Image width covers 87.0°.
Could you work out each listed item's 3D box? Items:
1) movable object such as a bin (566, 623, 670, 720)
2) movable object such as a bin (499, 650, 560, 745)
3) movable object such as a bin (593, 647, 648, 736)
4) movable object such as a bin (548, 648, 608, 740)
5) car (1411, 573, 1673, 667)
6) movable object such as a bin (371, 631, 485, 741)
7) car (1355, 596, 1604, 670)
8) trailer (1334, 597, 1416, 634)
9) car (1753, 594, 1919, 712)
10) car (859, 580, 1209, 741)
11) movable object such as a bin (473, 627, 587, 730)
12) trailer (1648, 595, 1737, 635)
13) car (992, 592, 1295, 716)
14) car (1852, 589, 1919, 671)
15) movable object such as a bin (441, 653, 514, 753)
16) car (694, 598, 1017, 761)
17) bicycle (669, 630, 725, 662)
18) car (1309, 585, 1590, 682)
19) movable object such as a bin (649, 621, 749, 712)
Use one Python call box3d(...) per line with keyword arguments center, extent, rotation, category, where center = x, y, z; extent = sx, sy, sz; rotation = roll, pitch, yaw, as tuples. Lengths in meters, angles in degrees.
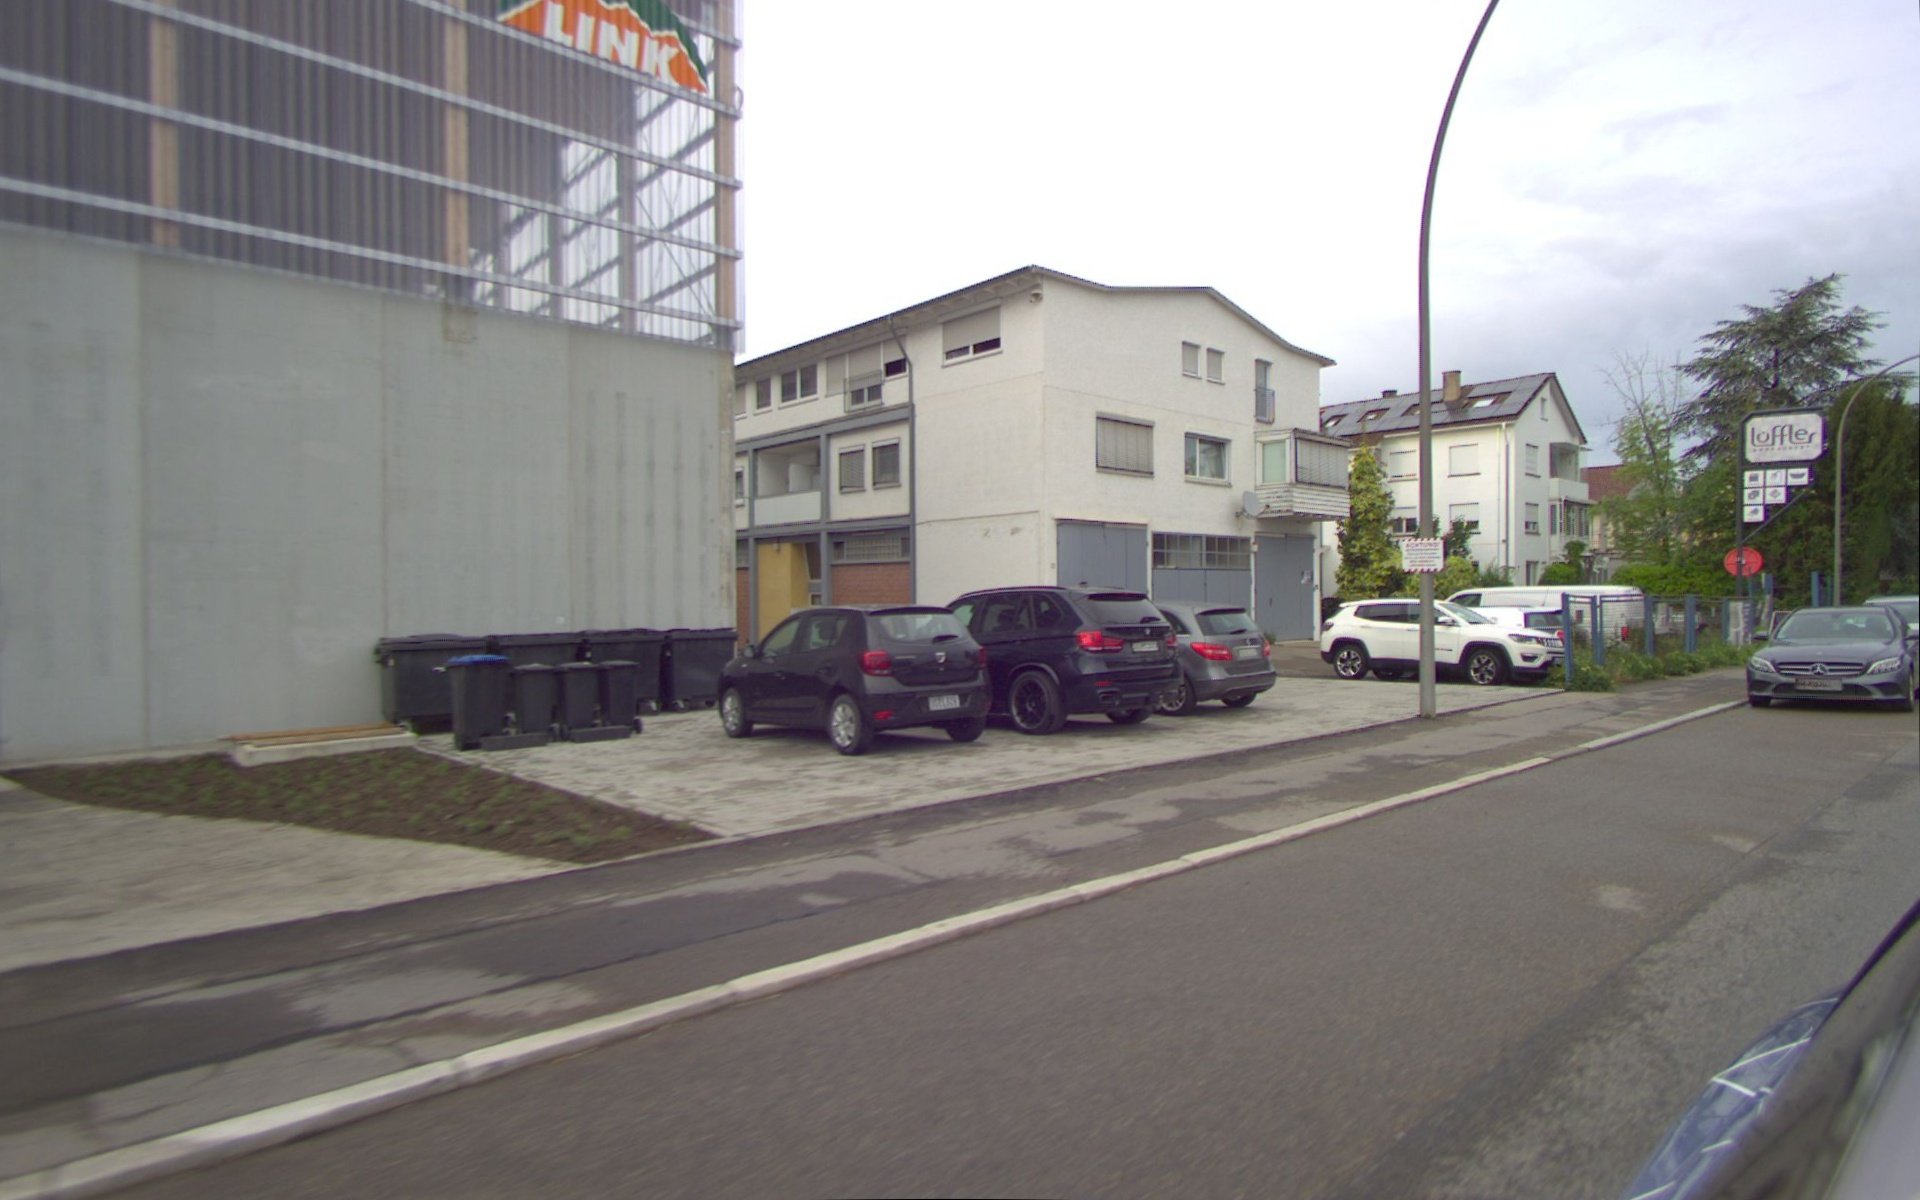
box3d(center=(-5.182, 1.053, 15.345), extent=(1.262, 1.357, 0.839), rotation=(-1, -1, -40), category="movable object such as a bin")
box3d(center=(-5.156, 1.150, 12.131), extent=(0.534, 1.068, 0.513), rotation=(-1, -1, -40), category="movable object such as a bin")
box3d(center=(-4.310, 1.150, 12.842), extent=(0.496, 1.068, 0.518), rotation=(-1, -1, -40), category="movable object such as a bin")
box3d(center=(-4.719, 1.141, 12.498), extent=(0.543, 1.068, 0.496), rotation=(-1, -1, -40), category="movable object such as a bin")
box3d(center=(13.067, 0.454, 22.981), extent=(1.965, 1.910, 4.739), rotation=(-1, -1, -41), category="car")
box3d(center=(-7.157, 1.117, 13.620), extent=(1.192, 1.357, 0.839), rotation=(-1, -1, -40), category="movable object such as a bin")
box3d(center=(10.904, 0.686, 21.502), extent=(1.818, 1.396, 4.325), rotation=(-1, -1, -41), category="car")
box3d(center=(18.067, 0.658, 44.019), extent=(4.024, 1.483, 1.642), rotation=(-1, -1, -41), category="trailer")
box3d(center=(13.537, 0.698, 15.262), extent=(4.469, 1.485, 1.740), rotation=(-1, -1, -43), category="car")
box3d(center=(0.786, 0.680, 12.858), extent=(1.948, 1.696, 4.230), rotation=(-1, -1, -43), category="car")
box3d(center=(-6.130, 1.081, 14.433), extent=(1.298, 1.357, 0.839), rotation=(-1, -1, -40), category="movable object such as a bin")
box3d(center=(26.268, 0.519, 36.260), extent=(3.821, 1.291, 1.619), rotation=(-1, 0, -39), category="trailer")
box3d(center=(2.581, 0.767, 15.093), extent=(1.780, 1.556, 4.249), rotation=(-1, -2, -41), category="car")
box3d(center=(20.966, 0.583, 21.954), extent=(4.295, 1.642, 1.742), rotation=(-1, -1, -40), category="car")
box3d(center=(-5.596, 1.171, 11.731), extent=(0.633, 1.068, 0.575), rotation=(-1, -1, -40), category="movable object such as a bin")
box3d(center=(-1.355, 0.788, 11.617), extent=(1.800, 1.509, 3.973), rotation=(0, -1, -39), category="car")
box3d(center=(-9.296, 1.614, 35.818), extent=(1.786, 1.073, 0.679), rotation=(-1, -1, -32), category="bicycle")
box3d(center=(9.263, 0.623, 19.458), extent=(1.861, 1.645, 4.451), rotation=(-1, -1, -41), category="car")
box3d(center=(-4.178, 1.032, 16.218), extent=(1.307, 1.357, 0.839), rotation=(-1, -1, -40), category="movable object such as a bin")
